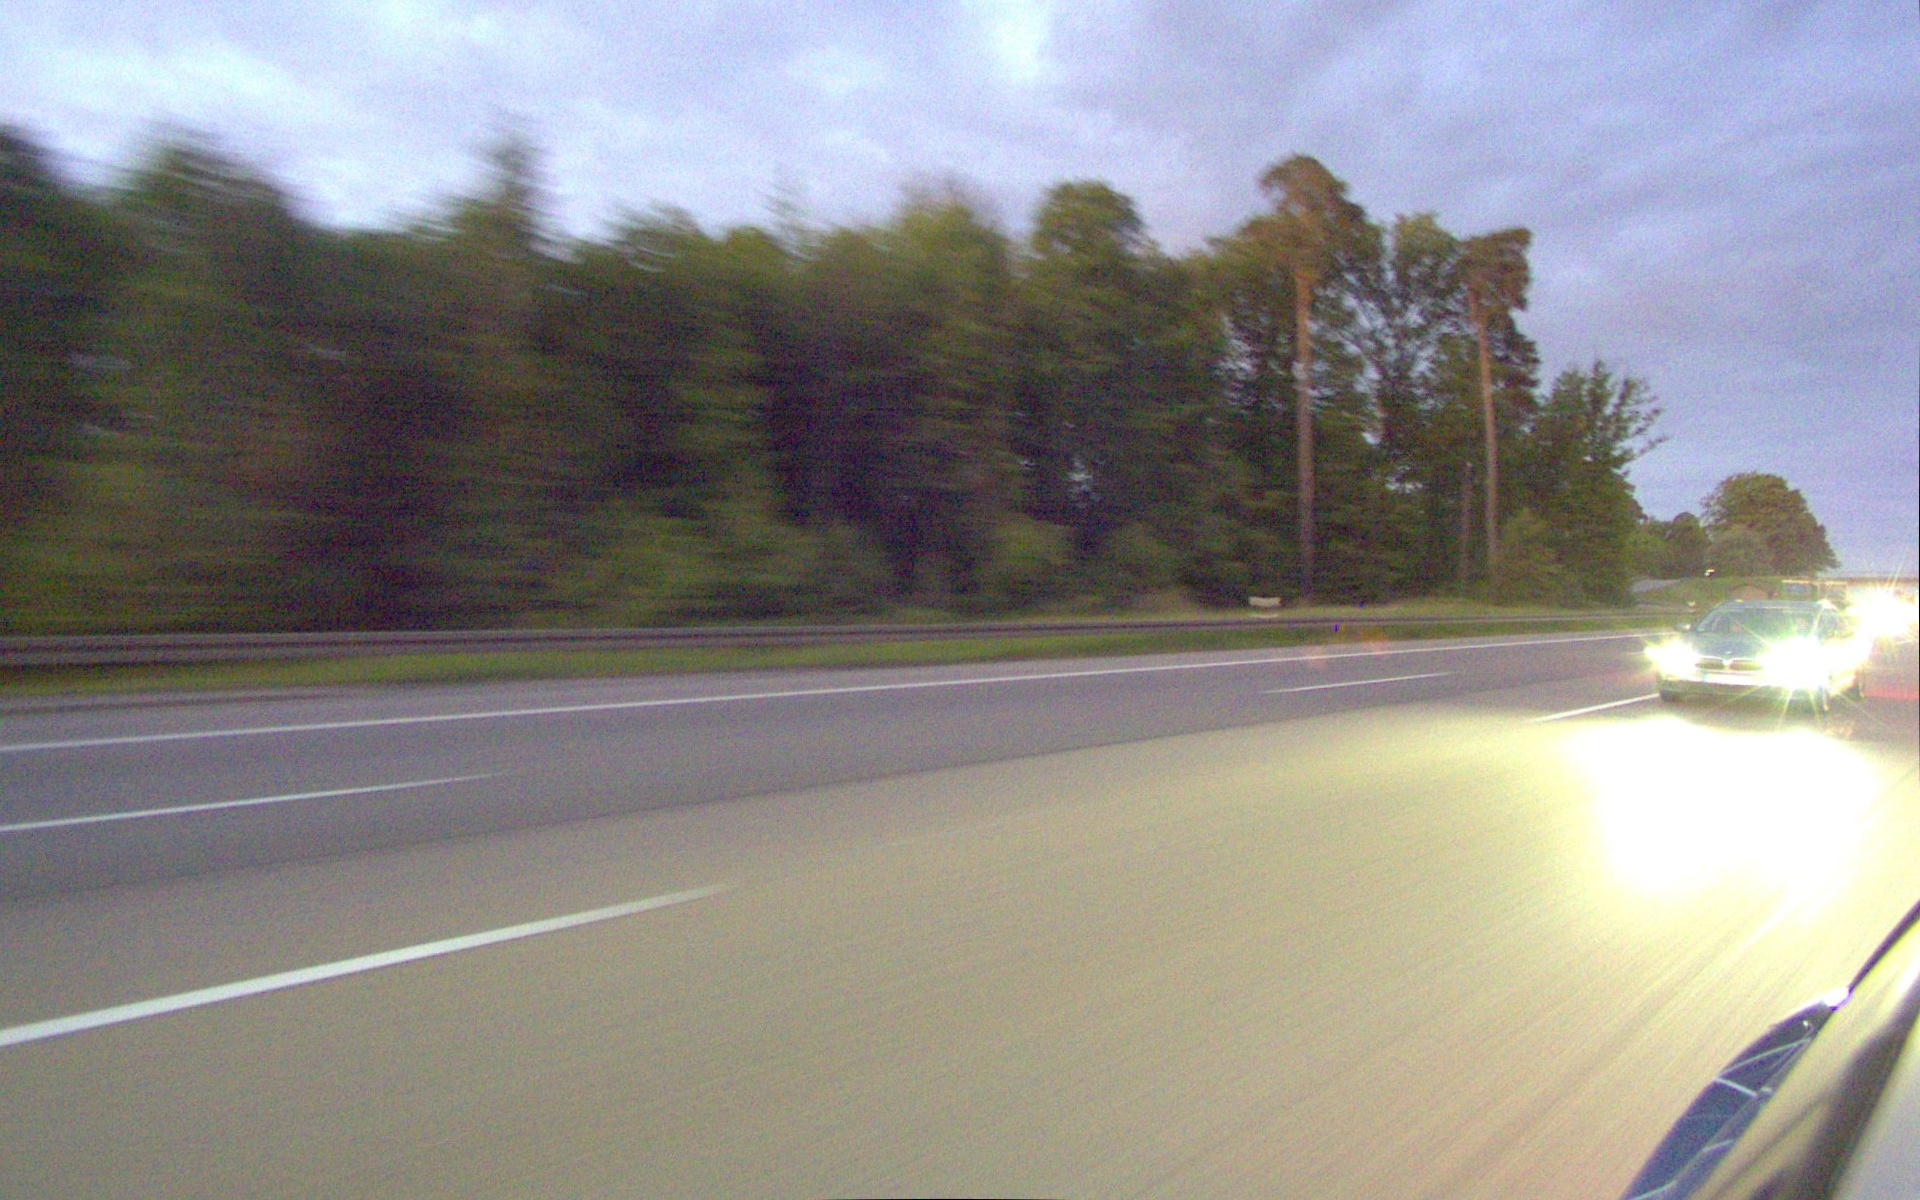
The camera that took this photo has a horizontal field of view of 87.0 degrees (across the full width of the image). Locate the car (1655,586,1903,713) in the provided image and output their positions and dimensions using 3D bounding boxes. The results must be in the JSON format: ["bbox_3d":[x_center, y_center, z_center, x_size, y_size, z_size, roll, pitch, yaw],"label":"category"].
[{"bbox_3d":[12.288,0.584,15.047,5.138,1.556,1.913,-1,2,-40],"label":"car"}]
